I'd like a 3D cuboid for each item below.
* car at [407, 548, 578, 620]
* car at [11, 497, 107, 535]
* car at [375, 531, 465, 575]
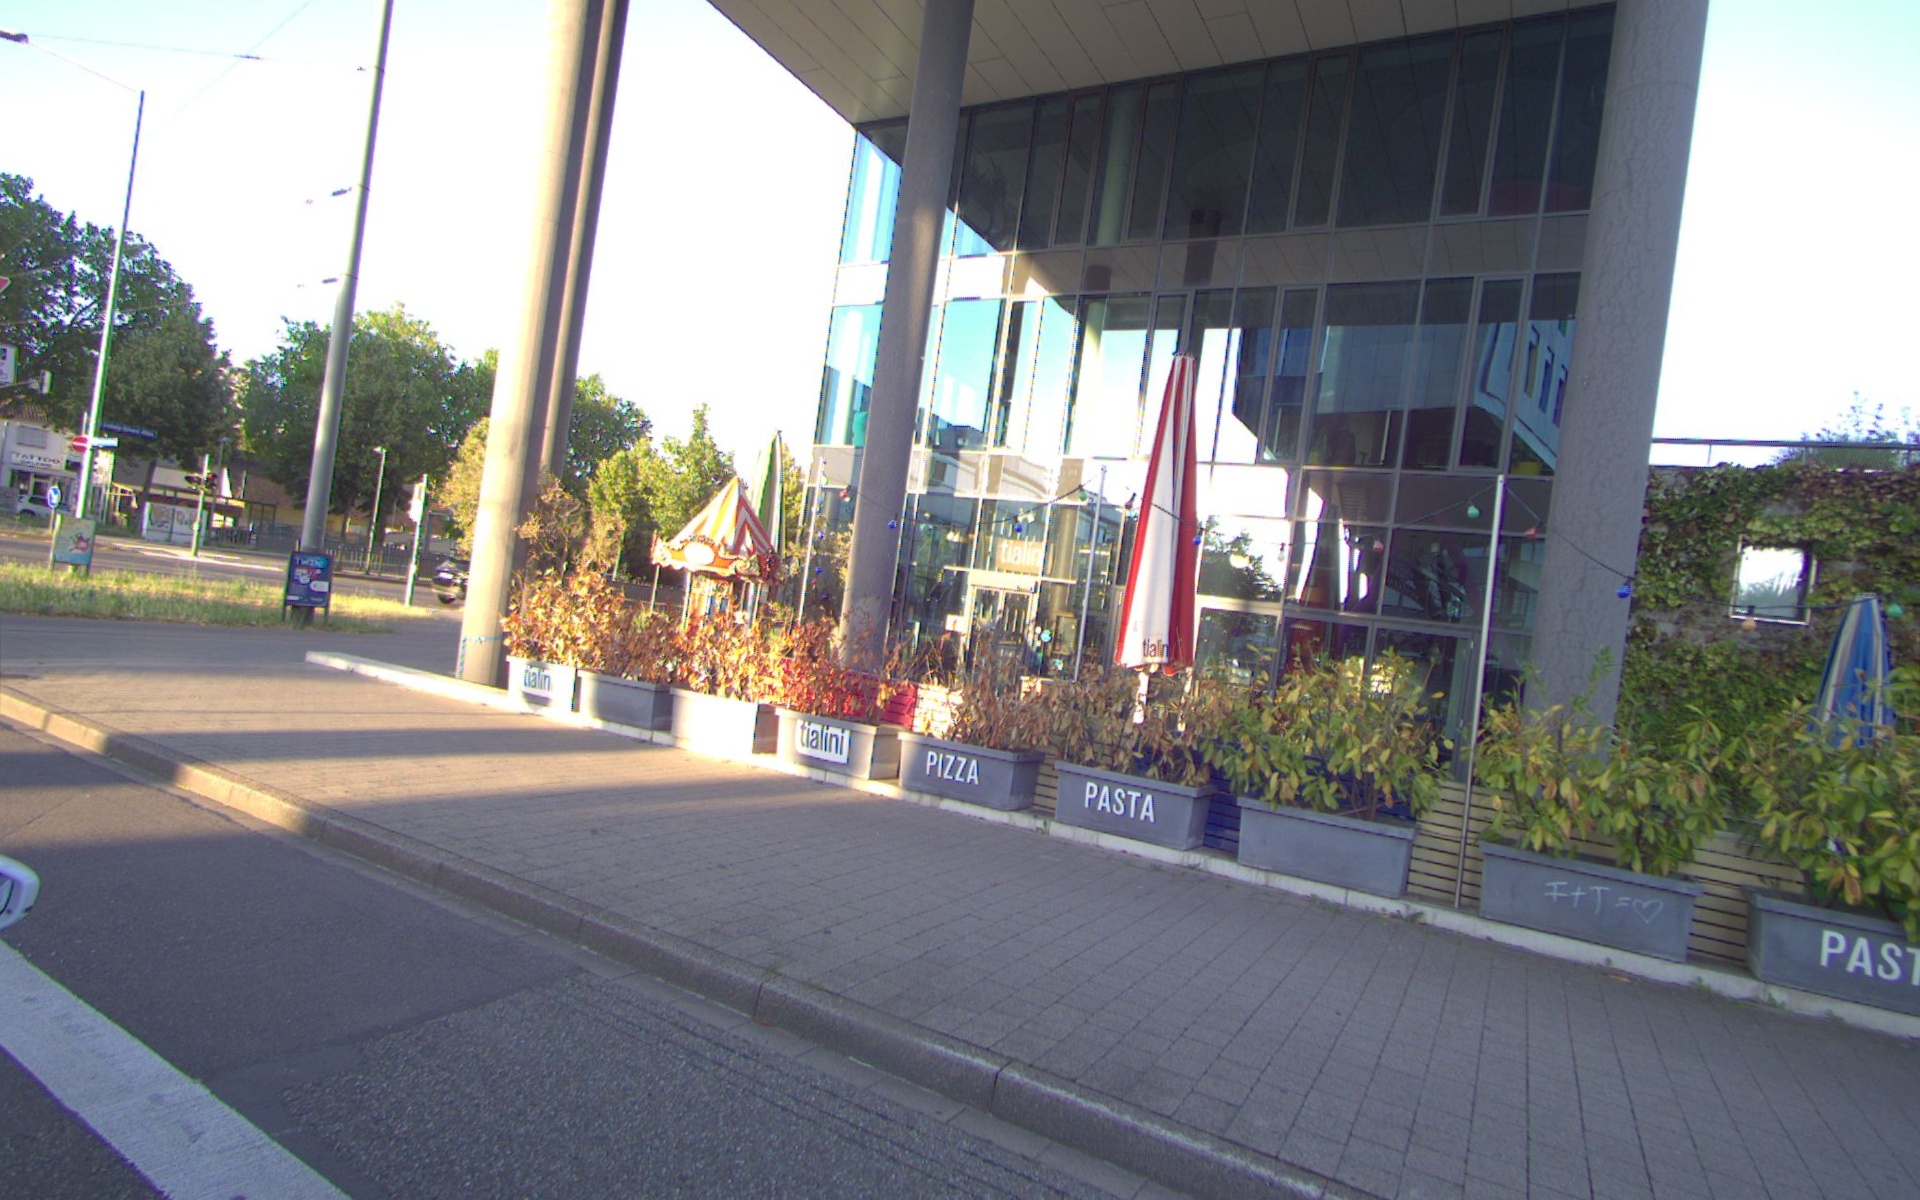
[{"bbox_3d":[-14.471,-0.437,31.411,1.965,1.592,4.446,7,-2,28],"label":"car"},{"bbox_3d":[-50.242,-4.671,56.133,1.641,1.456,3.736,6,-2,41],"label":"car"},{"bbox_3d":[-42.618,-3.689,79.519,2.197,2.581,5.594,7,-2,39],"label":"car"}]
